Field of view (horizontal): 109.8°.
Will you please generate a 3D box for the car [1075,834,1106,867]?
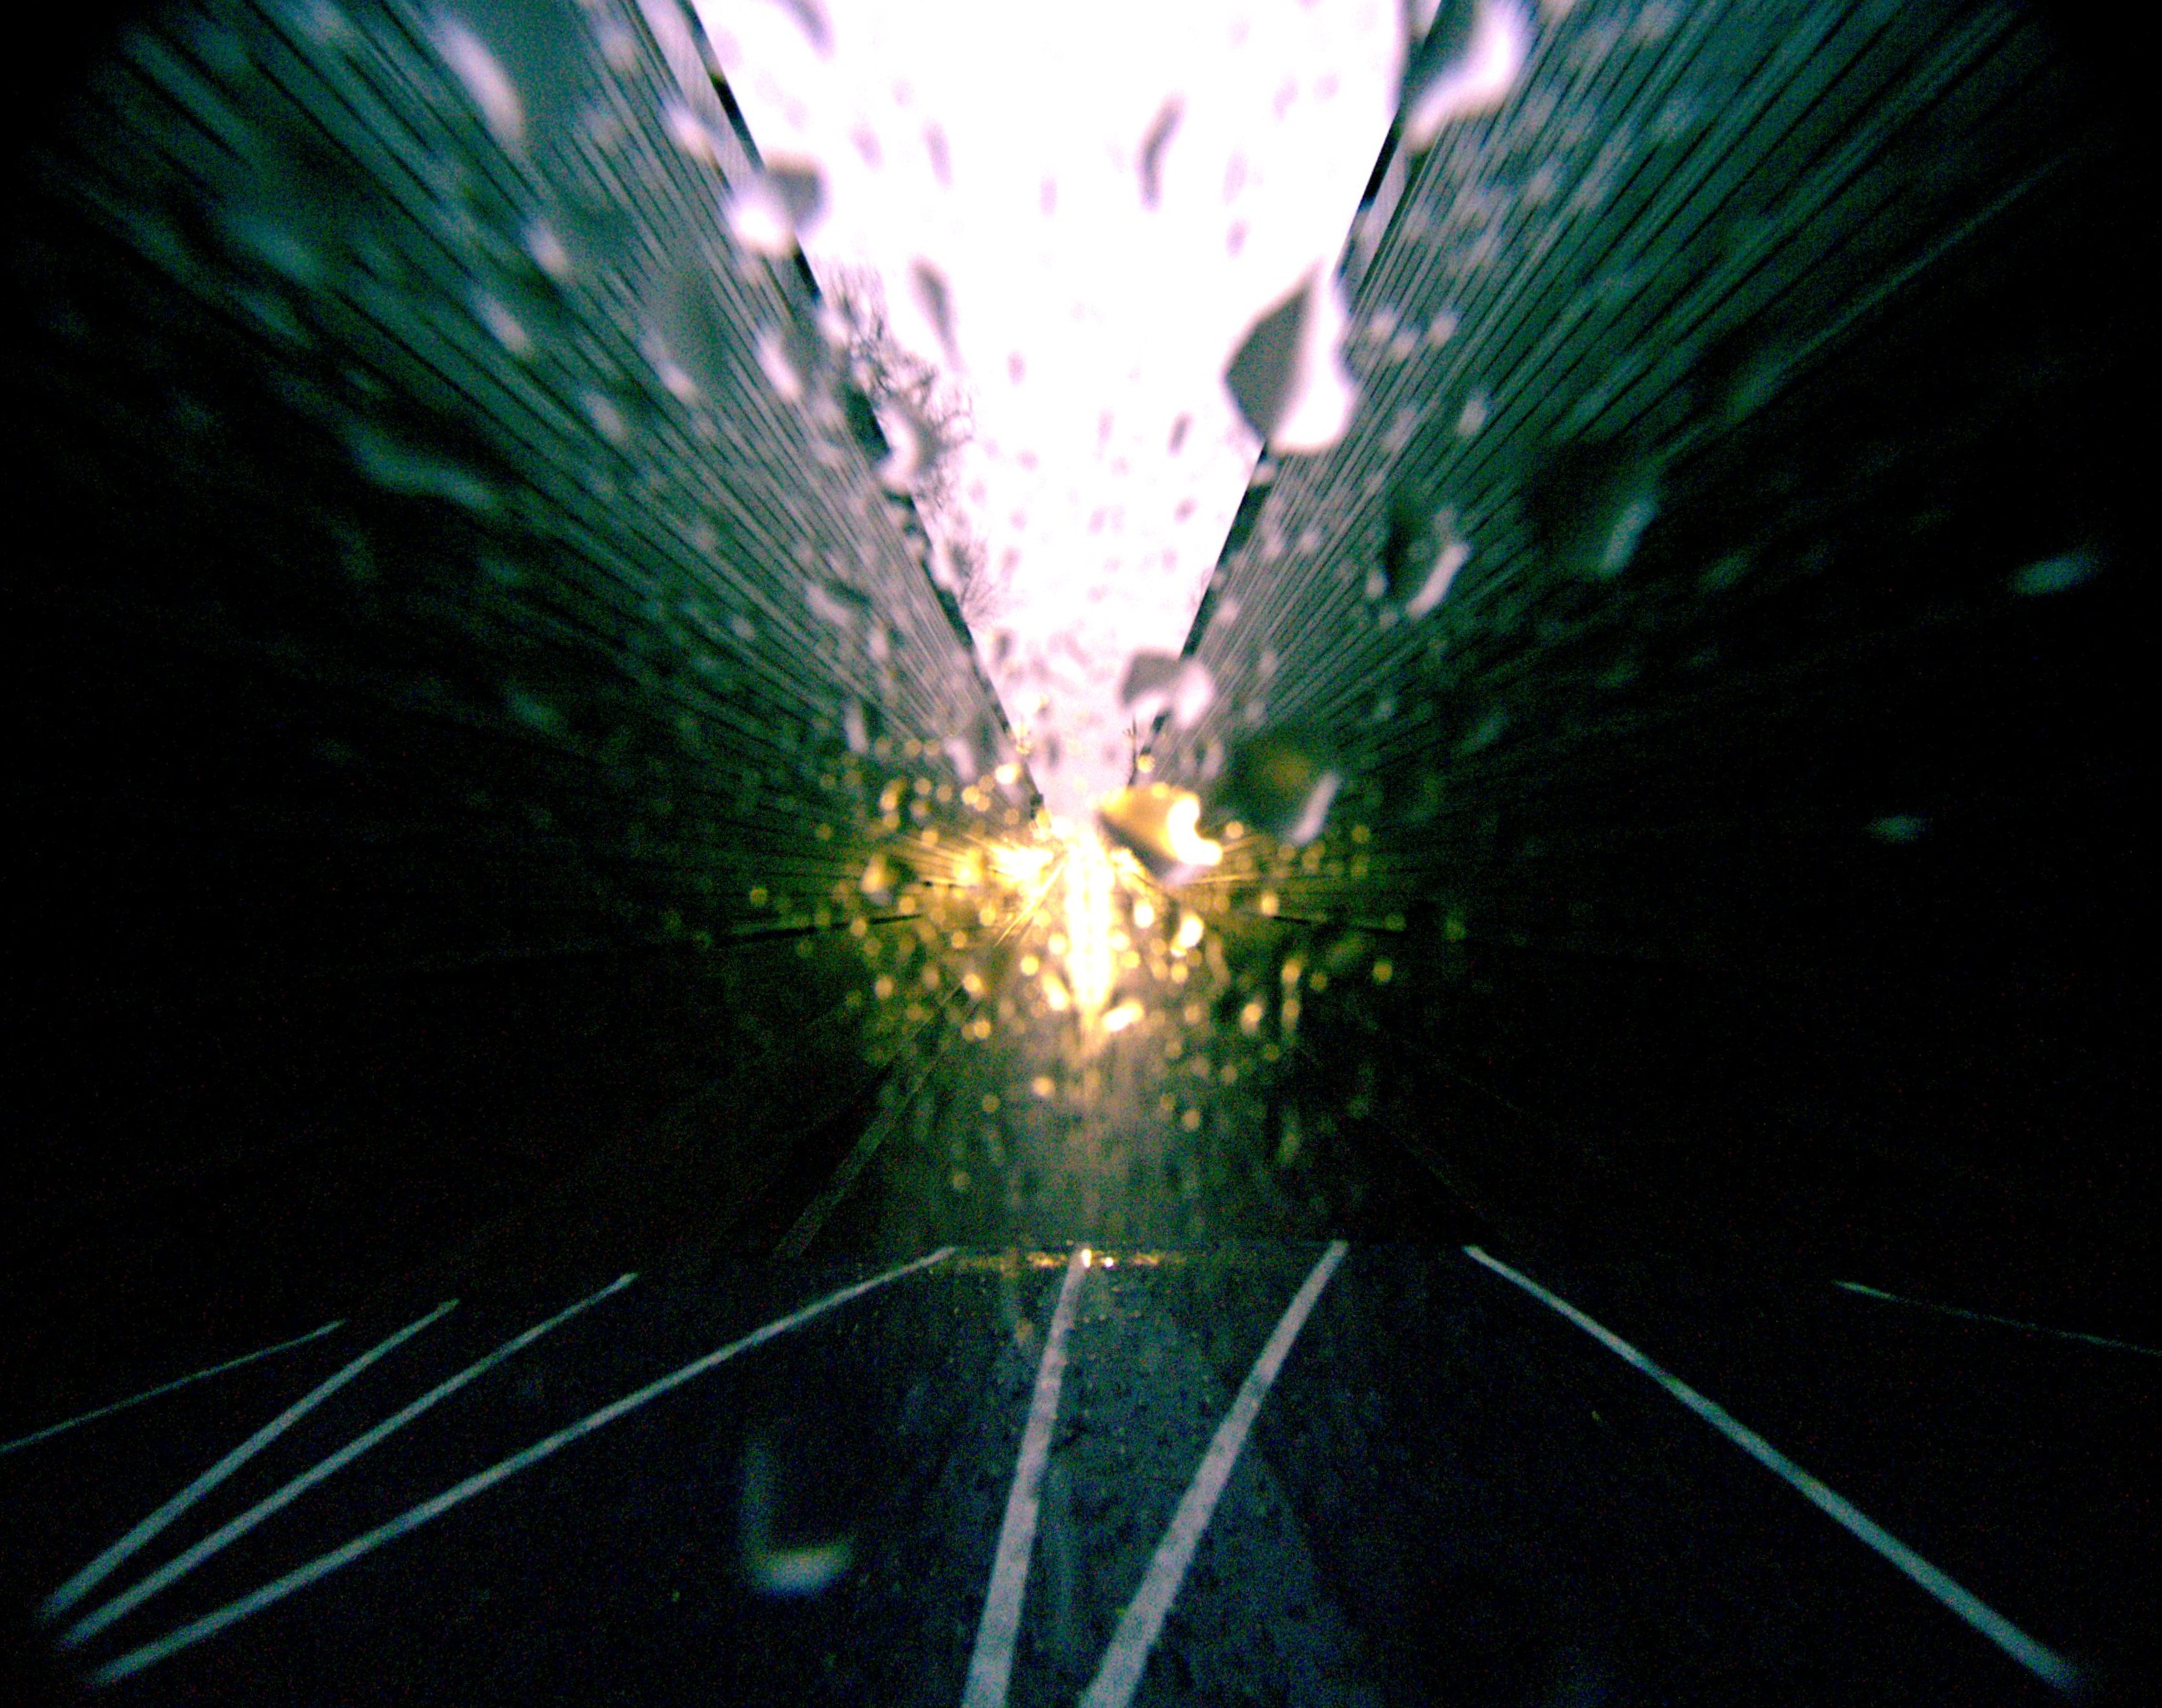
[{"bbox_3d":[0.664,-0.223,53.896,2.030,2.016,4.427,-2,-3,1],"label":"car"}]
